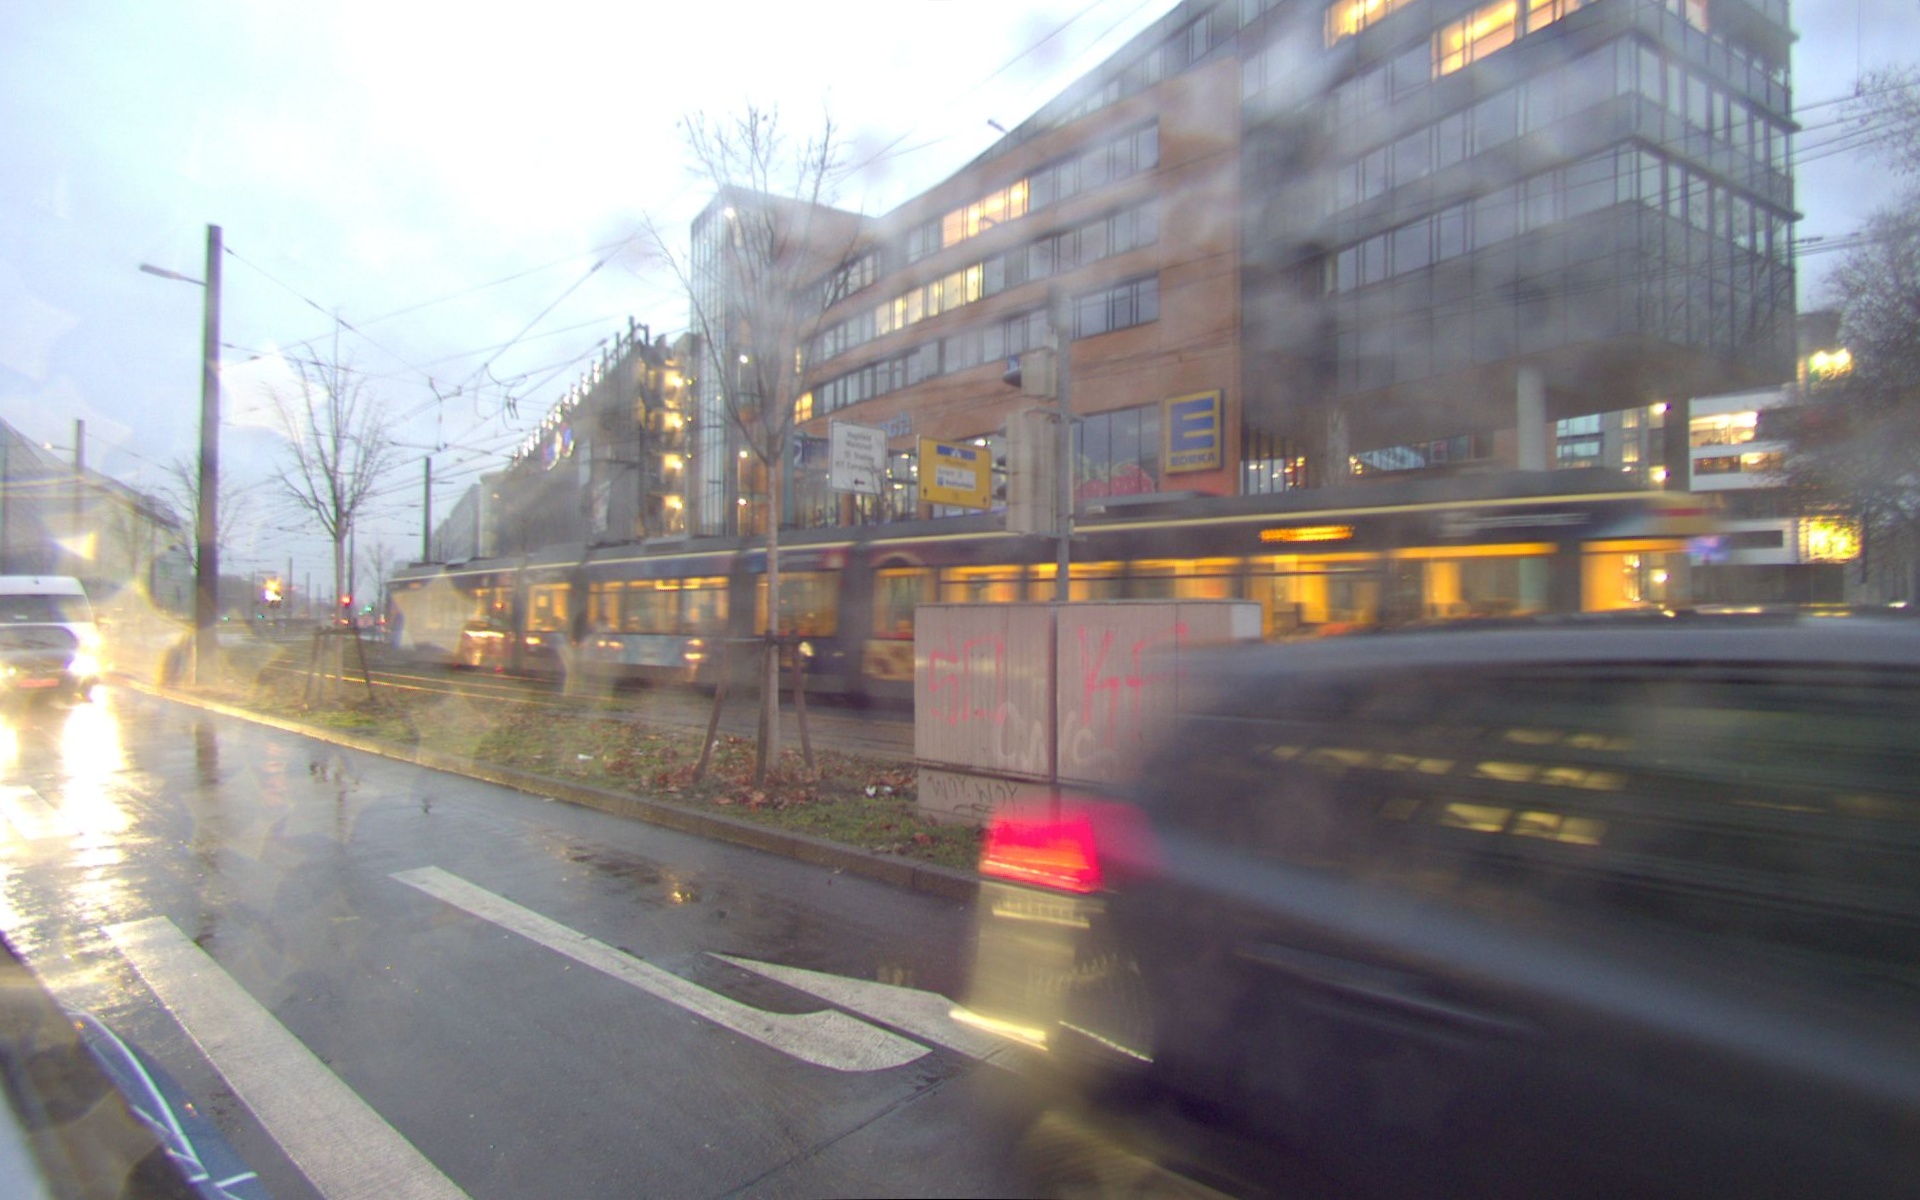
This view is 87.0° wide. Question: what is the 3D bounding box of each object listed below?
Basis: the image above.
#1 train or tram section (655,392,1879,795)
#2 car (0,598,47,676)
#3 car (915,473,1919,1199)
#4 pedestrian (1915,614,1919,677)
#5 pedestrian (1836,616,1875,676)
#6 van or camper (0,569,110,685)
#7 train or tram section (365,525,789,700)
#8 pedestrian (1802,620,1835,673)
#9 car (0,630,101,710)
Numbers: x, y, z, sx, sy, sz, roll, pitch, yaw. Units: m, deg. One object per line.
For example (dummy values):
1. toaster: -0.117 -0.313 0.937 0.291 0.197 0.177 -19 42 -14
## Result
1. train or tram section: 1.803 0.105 16.420 19.197 3.642 2.835 -1 -2 40
2. car: -37.723 1.433 39.624 5.808 2.885 2.103 -1 -2 40
3. car: 1.908 0.640 1.338 3.940 1.535 1.613 -2 -3 41
4. pedestrian: 27.672 1.302 28.698 0.821 1.787 0.564 -1 -2 42
5. pedestrian: 27.797 1.418 31.412 0.859 1.818 0.790 1 -2 -42
6. van or camper: -22.817 0.655 24.745 5.894 2.551 2.126 -1 -2 40
7. train or tram section: -12.195 0.445 29.021 20.072 3.642 2.833 -1 -2 43
8. pedestrian: 28.474 1.526 33.570 0.784 1.725 0.647 -1 -2 39
9. car: -17.763 1.265 19.241 4.057 1.355 1.735 -1 -2 44
